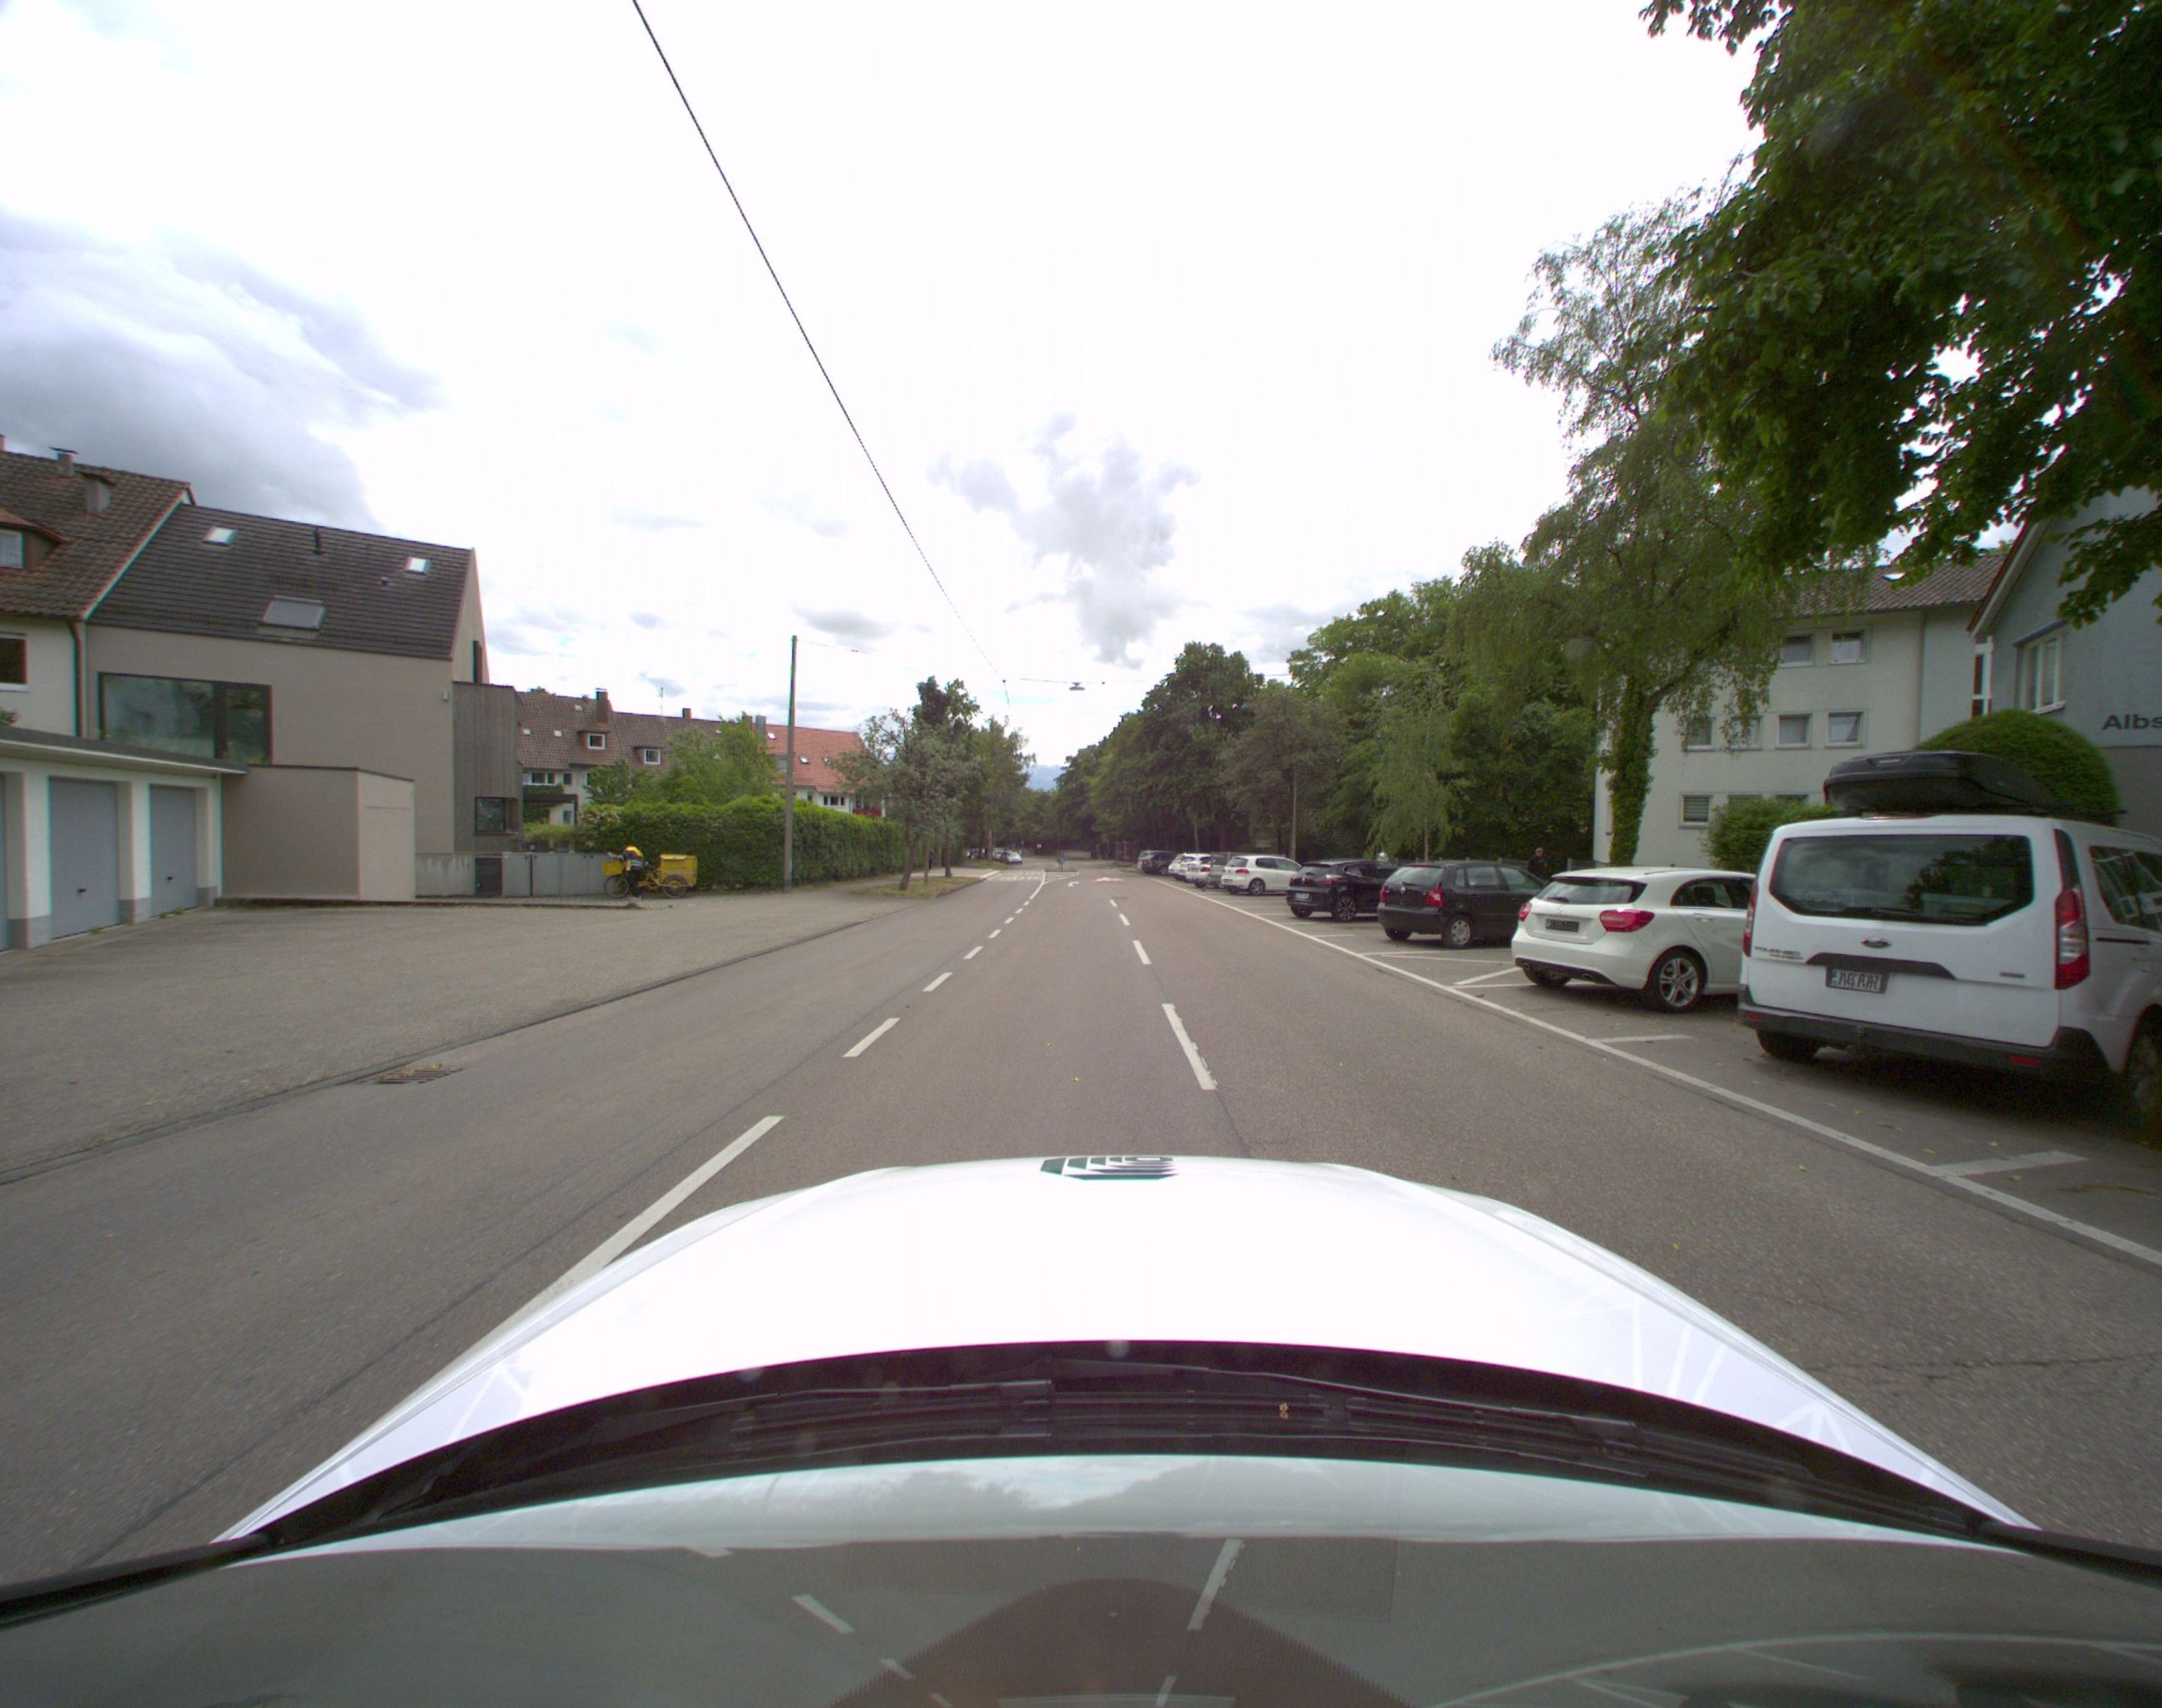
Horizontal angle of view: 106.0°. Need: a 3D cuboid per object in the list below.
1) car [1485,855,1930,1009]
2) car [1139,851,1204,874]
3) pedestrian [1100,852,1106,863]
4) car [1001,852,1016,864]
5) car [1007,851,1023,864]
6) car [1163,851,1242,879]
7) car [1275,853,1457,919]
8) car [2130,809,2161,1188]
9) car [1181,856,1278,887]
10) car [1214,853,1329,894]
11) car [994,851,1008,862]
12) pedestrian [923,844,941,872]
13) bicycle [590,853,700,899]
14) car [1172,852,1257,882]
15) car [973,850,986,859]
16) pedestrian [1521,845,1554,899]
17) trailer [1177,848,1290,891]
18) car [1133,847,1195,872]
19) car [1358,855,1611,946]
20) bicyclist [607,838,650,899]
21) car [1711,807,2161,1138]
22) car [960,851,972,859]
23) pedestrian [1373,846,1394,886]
[{"bbox_3d":[6.930,0.796,9.164,3.971,1.449,1.909,2,0,-14],"label":"car"},{"bbox_3d":[5.979,0.563,53.976,3.895,1.429,1.733,1,0,-18],"label":"car"},{"bbox_3d":[3.016,0.448,111.713,0.736,1.570,0.654,0,0,12],"label":"pedestrian"},{"bbox_3d":[-9.026,0.493,101.819,1.864,1.471,3.993,0,0,-5],"label":"car"},{"bbox_3d":[-7.843,0.371,96.253,1.864,1.471,3.993,0,0,-5],"label":"car"},{"bbox_3d":[6.552,0.596,43.961,3.895,1.429,1.733,1,0,-18],"label":"car"},{"bbox_3d":[6.837,0.737,19.577,3.900,1.449,1.831,1,0,-22],"label":"car"},{"bbox_3d":[6.774,0.681,3.169,4.003,1.620,1.875,2,0,-15],"label":"car"},{"bbox_3d":[6.487,0.764,35.596,3.900,1.309,1.731,1,0,-23],"label":"car"},{"bbox_3d":[7.174,0.731,30.716,3.897,1.449,1.732,1,0,-20],"label":"car"},{"bbox_3d":[-11.161,0.355,113.707,1.864,1.471,3.993,0,0,-5],"label":"car"},{"bbox_3d":[-9.491,0.248,51.918,0.972,1.730,0.848,0,0,-2],"label":"pedestrian"},{"bbox_3d":[-12.436,0.630,23.346,2.650,1.266,0.842,1,1,-19],"label":"bicycle"},{"bbox_3d":[6.761,0.642,41.380,3.895,1.429,1.733,1,0,-18],"label":"car"},{"bbox_3d":[-16.706,0.029,134.293,1.868,1.471,3.985,0,0,-11],"label":"car"},{"bbox_3d":[13.820,0.546,24.661,0.646,1.603,0.745,0,0,7],"label":"pedestrian"},{"bbox_3d":[6.146,0.623,32.913,4.165,1.573,1.702,2,0,-18],"label":"trailer"},{"bbox_3d":[5.768,0.404,56.770,3.895,1.668,1.733,1,0,-18],"label":"car"},{"bbox_3d":[7.177,0.793,14.550,3.895,1.449,1.833,2,0,-18],"label":"car"},{"bbox_3d":[-12.776,0.399,23.021,0.709,1.697,0.847,1,1,-1],"label":"bicyclist"},{"bbox_3d":[6.824,0.660,5.993,4.106,1.754,1.772,2,0,-25],"label":"car"},{"bbox_3d":[-21.165,0.117,150.055,1.868,1.471,3.985,0,0,-11],"label":"car"},{"bbox_3d":[12.758,0.498,34.355,0.646,1.671,0.745,0,0,7],"label":"pedestrian"}]
